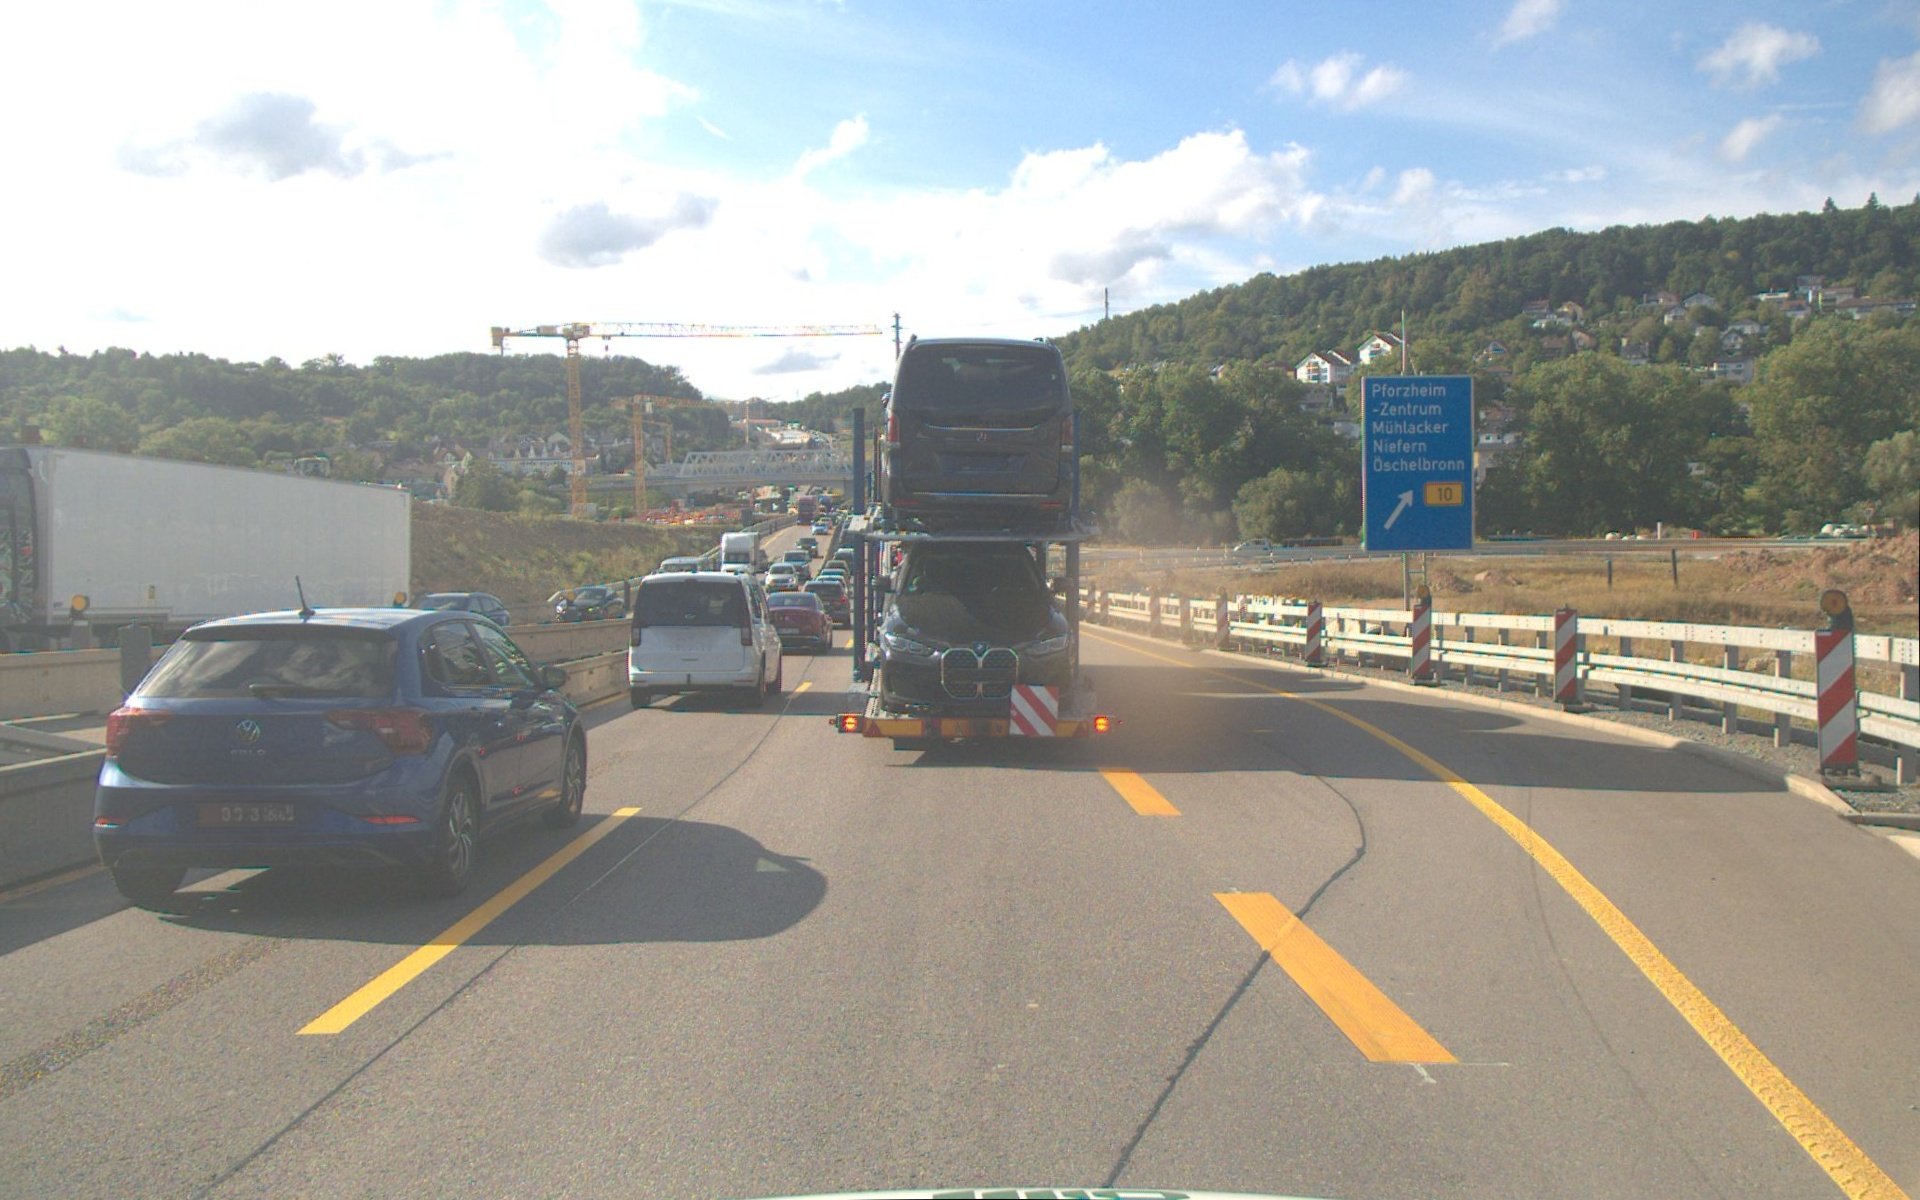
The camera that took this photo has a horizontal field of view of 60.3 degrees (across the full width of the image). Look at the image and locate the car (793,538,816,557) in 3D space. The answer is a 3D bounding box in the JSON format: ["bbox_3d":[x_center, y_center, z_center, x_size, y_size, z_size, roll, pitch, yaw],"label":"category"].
[{"bbox_3d":[-14.169,-4.764,150.994,1.815,1.664,4.747,-1,2,-2],"label":"car"}]

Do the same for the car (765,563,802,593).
[{"bbox_3d":[-10.545,-1.343,99.034,2.084,1.703,4.270,0,2,-4],"label":"car"}]

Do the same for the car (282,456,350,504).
[{"bbox_3d":[-37.259,-6.925,95.868,1.955,2.177,5.318,-5,0,-3],"label":"car"}]

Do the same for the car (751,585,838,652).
[{"bbox_3d":[-4.064,0.445,41.181,1.954,1.584,4.398,0,0,-3],"label":"car"}]

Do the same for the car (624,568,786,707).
[{"bbox_3d":[-3.551,0.502,23.689,1.786,1.823,3.999,0,0,-2],"label":"car"}]

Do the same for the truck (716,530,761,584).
[{"bbox_3d":[-14.824,-2.850,111.202,2.648,3.369,7.529,0,0,-5],"label":"truck"}]

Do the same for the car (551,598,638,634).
[{"bbox_3d":[-13.345,0.586,60.631,1.879,1.295,4.003,0,0,7],"label":"car"}]

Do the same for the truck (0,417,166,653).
[{"bbox_3d":[-16.825,-1.045,28.595,2.717,3.855,6.022,0,-1,7],"label":"truck"}]

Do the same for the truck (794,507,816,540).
[{"bbox_3d":[-21.925,-10.811,233.547,2.859,4.463,6.278,1,1,-7],"label":"truck"}]

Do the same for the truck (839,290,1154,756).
[{"bbox_3d":[0.041,-0.595,23.888,2.698,4.024,18.881,1,0,-2],"label":"truck"}]

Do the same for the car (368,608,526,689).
[{"bbox_3d":[-11.699,1.075,38.026,1.951,1.757,4.125,0,0,6],"label":"car"}]

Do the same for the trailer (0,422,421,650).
[{"bbox_3d":[-15.980,-1.056,35.386,2.760,3.908,13.814,0,0,8],"label":"trailer"}]

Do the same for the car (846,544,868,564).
[{"bbox_3d":[-9.155,-4.060,146.285,1.808,1.677,4.500,0,1,-5],"label":"car"}]

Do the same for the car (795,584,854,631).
[{"bbox_3d":[-4.760,0.257,57.688,1.955,1.579,3.995,0,0,-6],"label":"car"}]

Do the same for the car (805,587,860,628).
[{"bbox_3d":[-5.030,0.289,65.452,1.953,1.579,3.999,0,0,-1],"label":"car"}]

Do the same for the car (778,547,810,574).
[{"bbox_3d":[-11.668,-2.814,116.463,2.084,1.796,5.028,0,2,-4],"label":"car"}]

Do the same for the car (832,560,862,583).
[{"bbox_3d":[-8.196,-2.052,120.241,1.953,1.579,3.999,0,0,-1],"label":"car"}]

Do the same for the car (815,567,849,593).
[{"bbox_3d":[-8.197,-1.278,106.108,1.953,1.579,3.999,0,0,-1],"label":"car"}]

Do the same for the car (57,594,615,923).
[{"bbox_3d":[-3.257,0.762,9.527,1.687,1.447,3.999,-1,-1,0],"label":"car"}]
